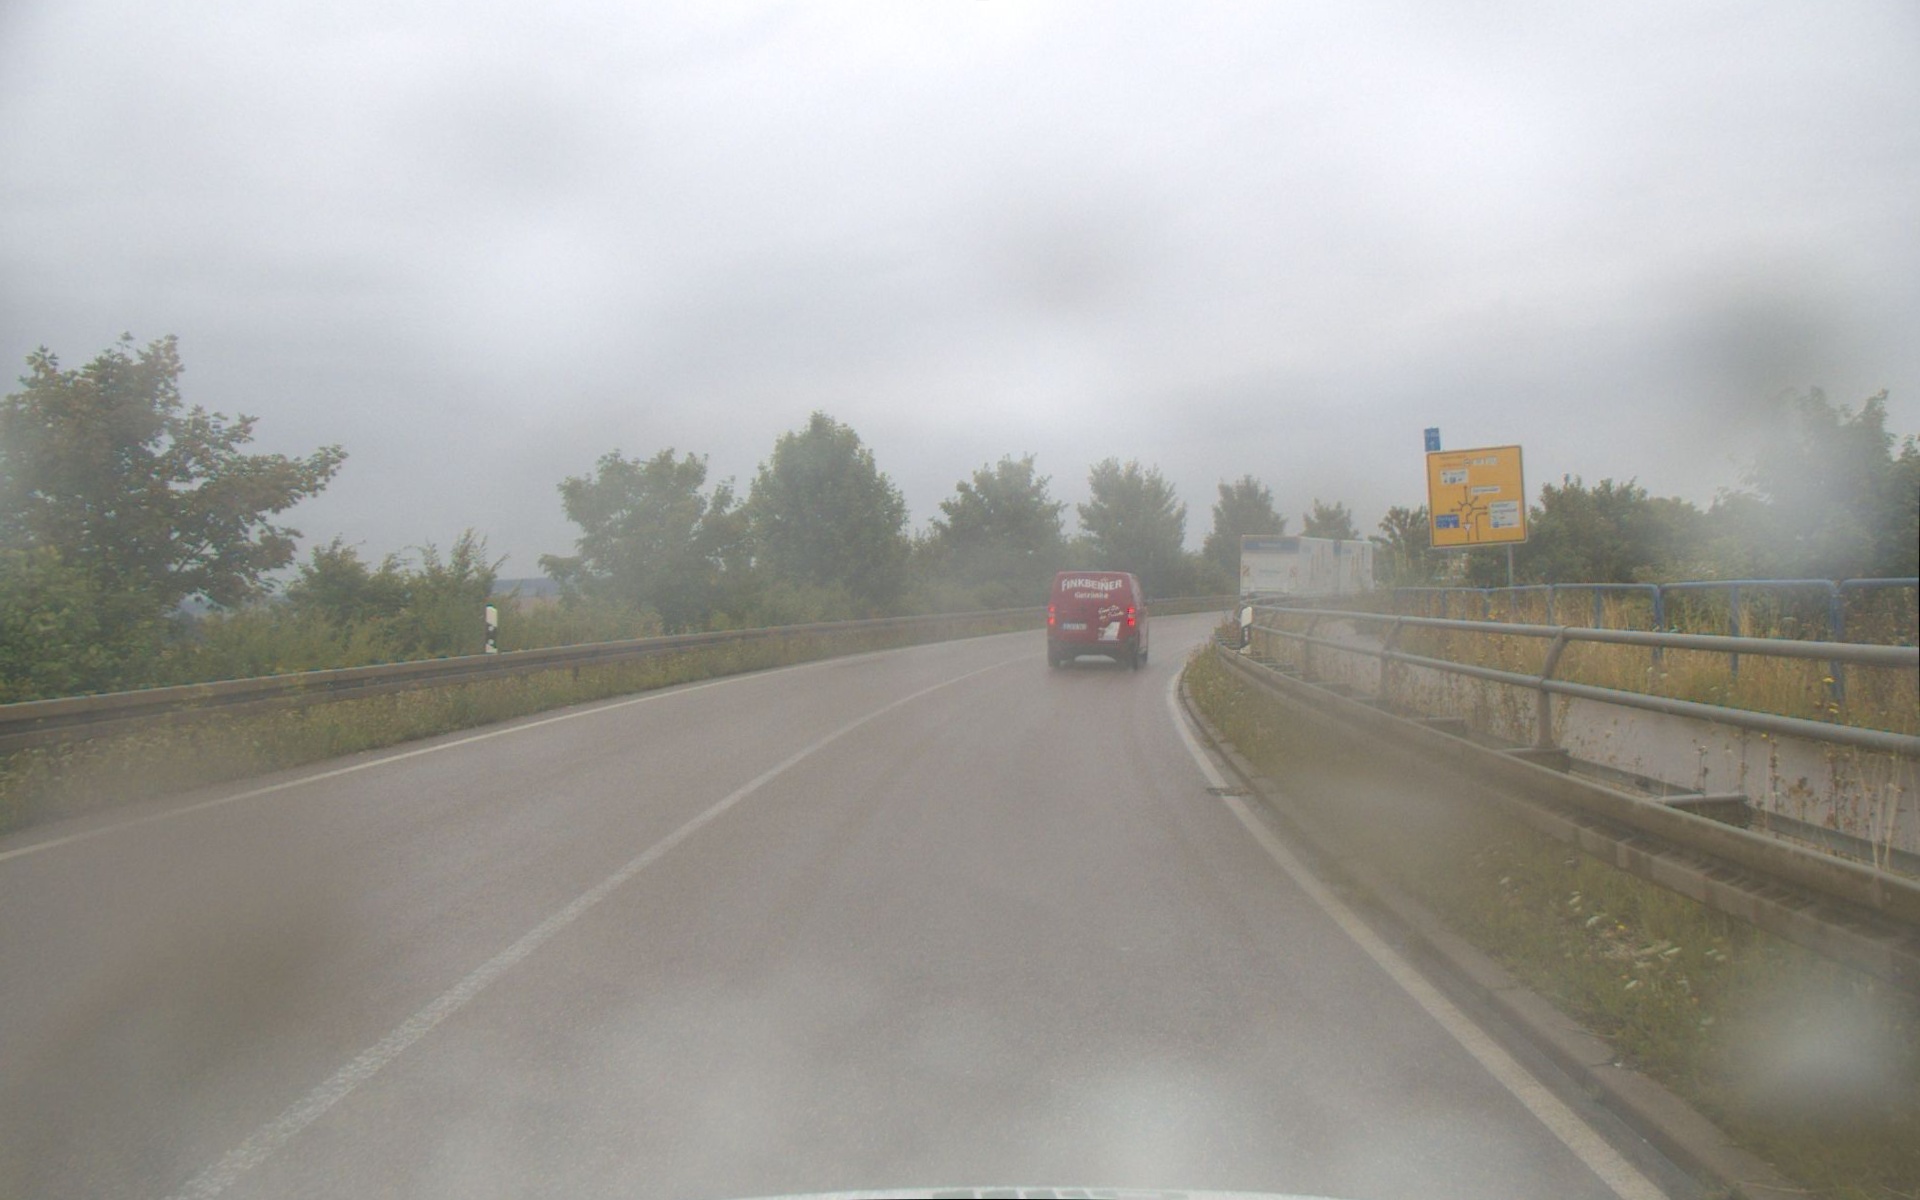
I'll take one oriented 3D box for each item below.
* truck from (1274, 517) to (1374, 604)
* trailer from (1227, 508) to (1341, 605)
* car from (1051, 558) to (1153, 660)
[{"bbox_3d":[17.923,-1.850,80.938,3.137,3.990,8.736,1,0,23],"label":"truck"},{"bbox_3d":[14.411,-1.815,72.919,3.137,3.990,8.736,1,0,23],"label":"trailer"},{"bbox_3d":[2.883,0.147,34.350,1.952,1.959,4.145,-1,1,3],"label":"car"}]
